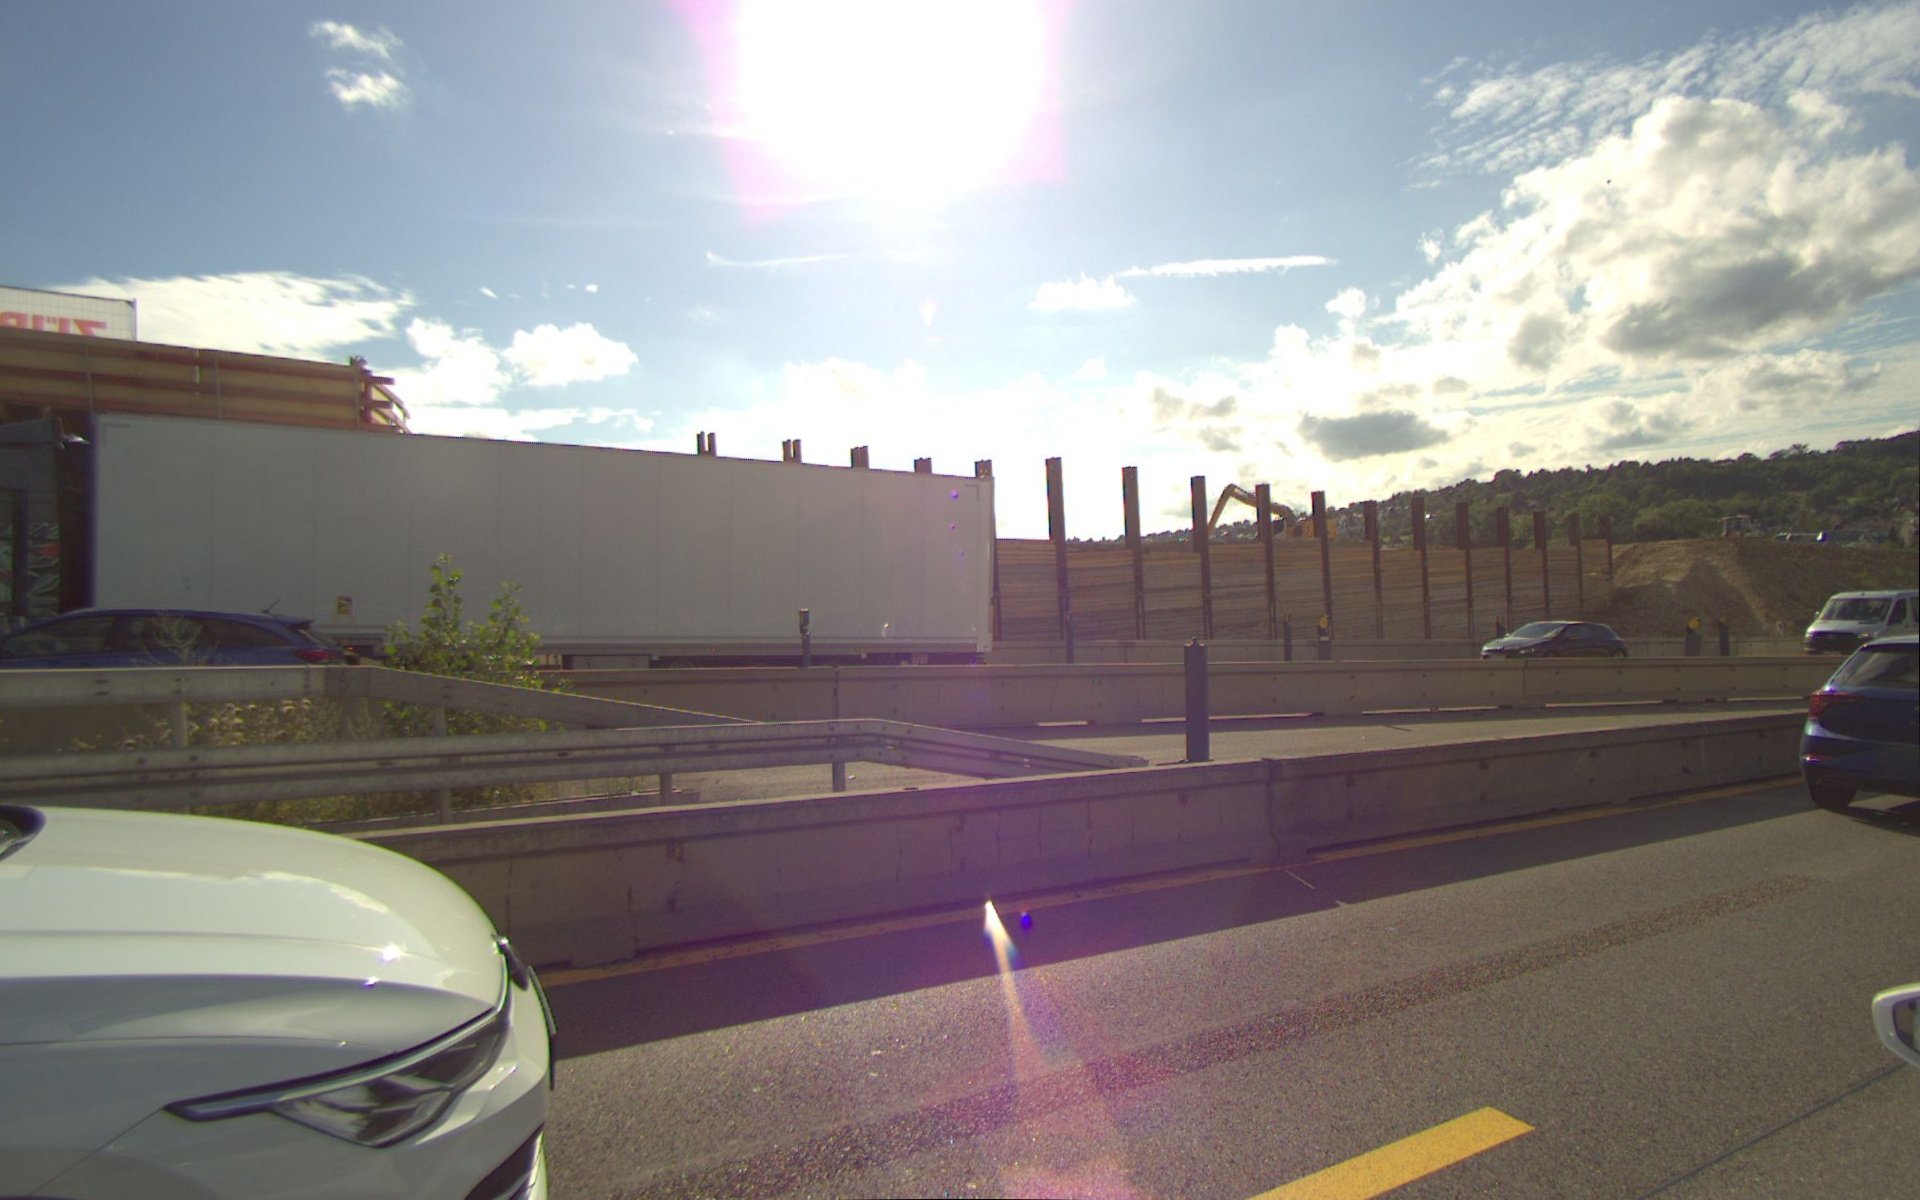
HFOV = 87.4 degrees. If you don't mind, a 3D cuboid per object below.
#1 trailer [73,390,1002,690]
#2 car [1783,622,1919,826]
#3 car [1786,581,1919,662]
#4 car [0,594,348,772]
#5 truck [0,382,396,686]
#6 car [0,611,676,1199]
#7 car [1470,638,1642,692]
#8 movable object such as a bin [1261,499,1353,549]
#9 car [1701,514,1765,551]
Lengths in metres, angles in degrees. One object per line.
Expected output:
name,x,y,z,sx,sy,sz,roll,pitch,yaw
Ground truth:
trailer,-5.942,-0.590,17.323,13.622,3.892,2.811,2,-1,-26
car,8.578,0.984,8.211,3.957,1.440,1.712,3,-1,-32
car,29.775,0.729,32.571,5.785,2.434,2.253,2,-1,-24
car,-9.242,0.841,11.093,4.072,1.749,1.985,2,-1,-29
truck,-11.670,-0.795,14.454,5.940,3.838,2.767,2,-1,-26
car,-2.869,0.750,1.407,4.463,1.510,1.762,2,-3,-30
car,15.779,1.711,26.603,3.941,1.289,1.916,2,-1,-22
movable object such as a bin,27.884,-6.021,80.951,4.441,3.314,5.740,2,-1,-19
car,57.811,-5.023,75.074,5.263,2.167,1.984,2,-6,-32
